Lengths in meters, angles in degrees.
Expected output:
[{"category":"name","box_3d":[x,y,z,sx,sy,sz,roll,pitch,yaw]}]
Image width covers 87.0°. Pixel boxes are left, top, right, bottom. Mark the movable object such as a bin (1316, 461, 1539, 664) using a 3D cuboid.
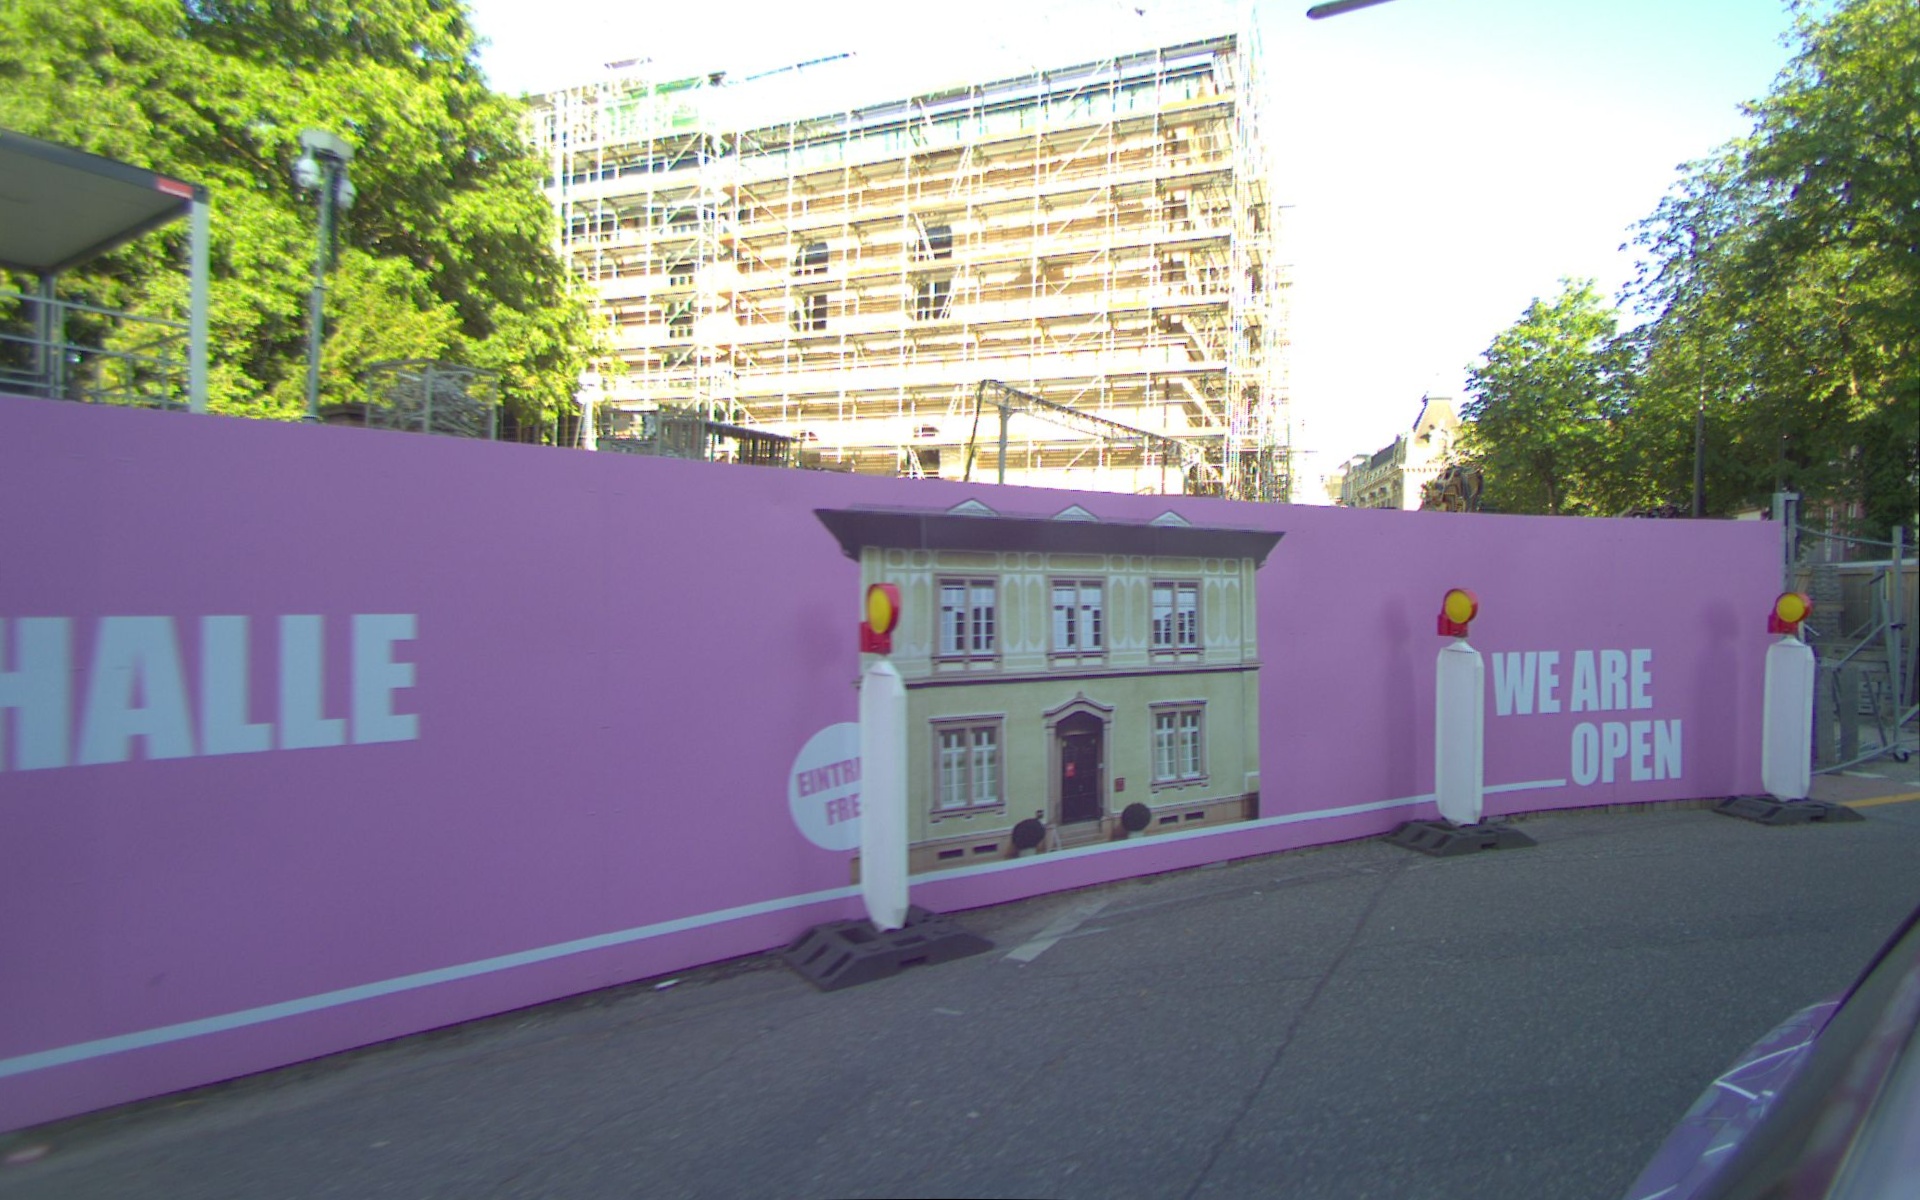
[{"category":"movable object such as a bin","box_3d":[9.018,-0.707,19.305,3.150,3.341,4.334,3,2,33]}]
